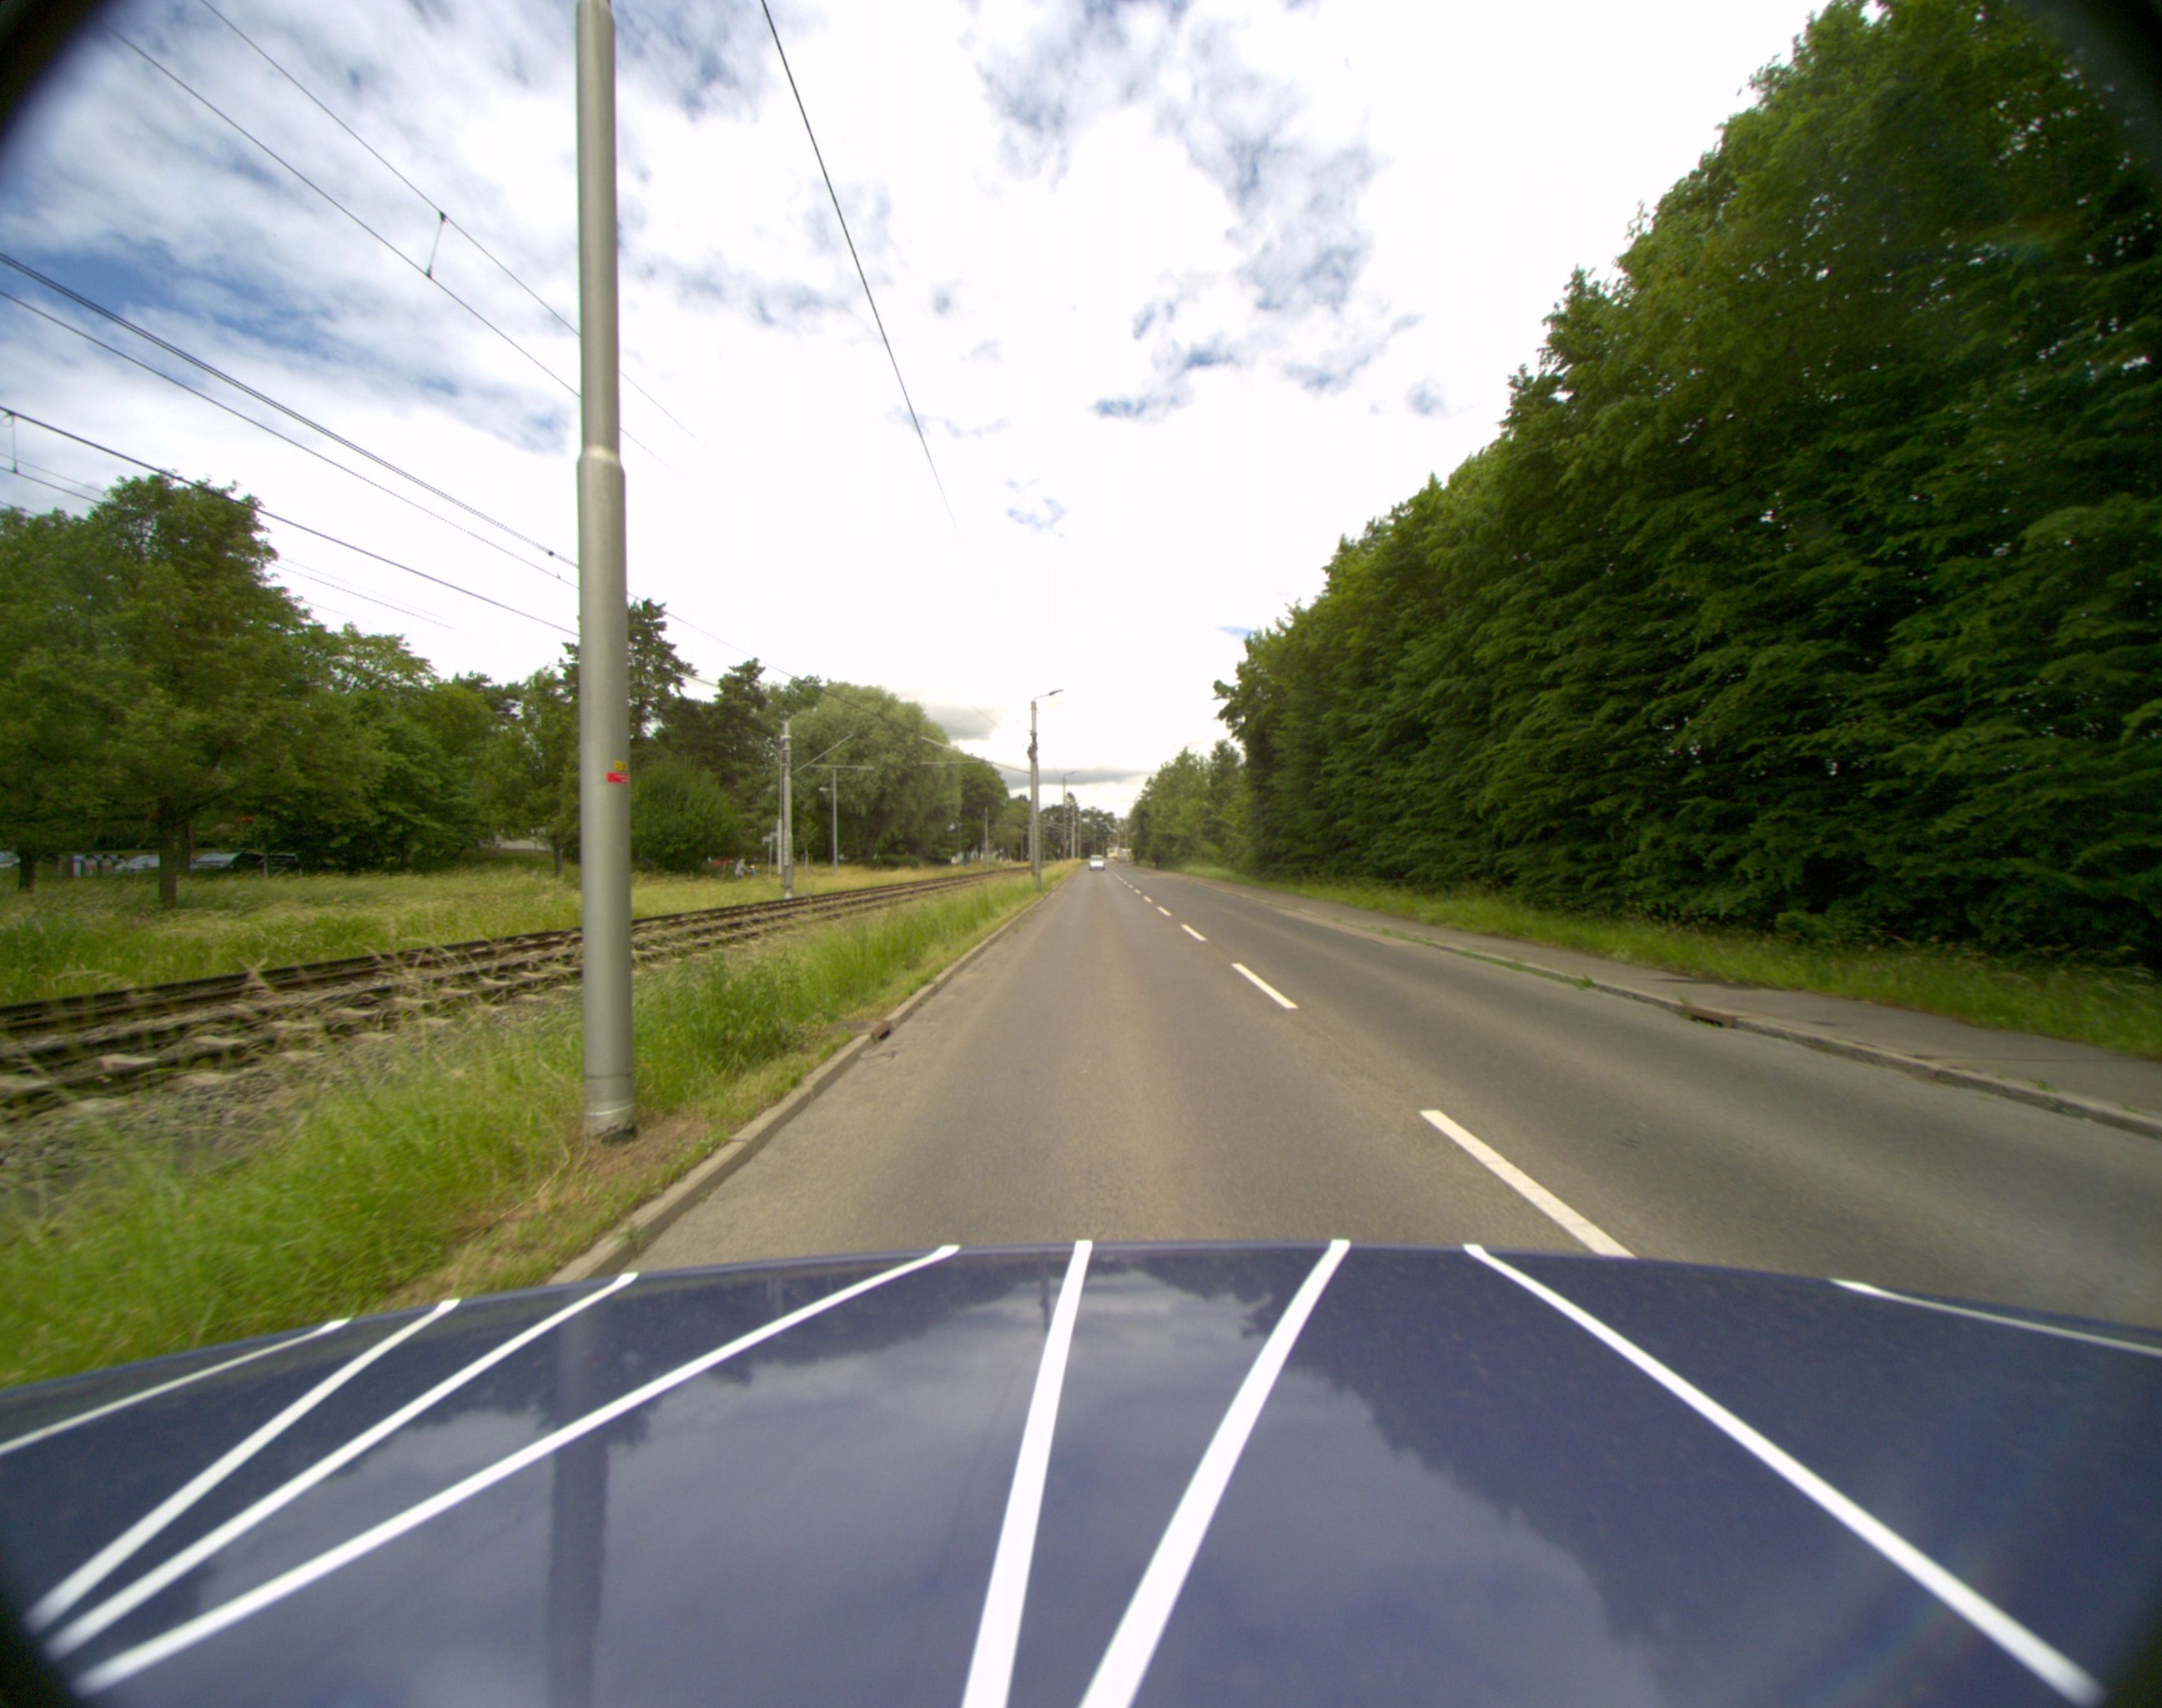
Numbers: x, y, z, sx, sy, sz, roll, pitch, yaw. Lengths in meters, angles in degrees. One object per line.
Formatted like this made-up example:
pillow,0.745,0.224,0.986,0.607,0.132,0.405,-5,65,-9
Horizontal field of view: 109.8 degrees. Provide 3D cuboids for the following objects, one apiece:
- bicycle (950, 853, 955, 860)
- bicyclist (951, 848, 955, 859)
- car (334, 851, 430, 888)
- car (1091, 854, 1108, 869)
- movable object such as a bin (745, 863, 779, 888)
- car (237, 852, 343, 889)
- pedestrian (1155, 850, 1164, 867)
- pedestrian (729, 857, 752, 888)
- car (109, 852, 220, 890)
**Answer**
bicycle,-21.084,0.410,124.990,0.582,1.239,1.929,-1,0,-2
bicyclist,-21.105,-0.102,125.258,0.582,1.686,0.935,-1,1,-2
car,-35.895,0.767,39.159,1.750,1.793,3.996,-1,0,-11
car,2.083,0.858,83.766,1.733,1.638,4.228,-1,-1,3
movable object such as a bin,-18.077,1.208,43.123,0.658,1.303,1.646,0,1,42
car,-40.581,0.812,39.114,1.750,1.793,3.996,-1,0,-11
pedestrian,8.360,0.476,81.093,0.870,1.759,0.789,0,0,-5
pedestrian,-18.935,1.028,42.216,0.656,1.657,0.960,1,1,42
car,-46.054,0.827,38.317,2.002,1.801,3.992,-1,0,-24
